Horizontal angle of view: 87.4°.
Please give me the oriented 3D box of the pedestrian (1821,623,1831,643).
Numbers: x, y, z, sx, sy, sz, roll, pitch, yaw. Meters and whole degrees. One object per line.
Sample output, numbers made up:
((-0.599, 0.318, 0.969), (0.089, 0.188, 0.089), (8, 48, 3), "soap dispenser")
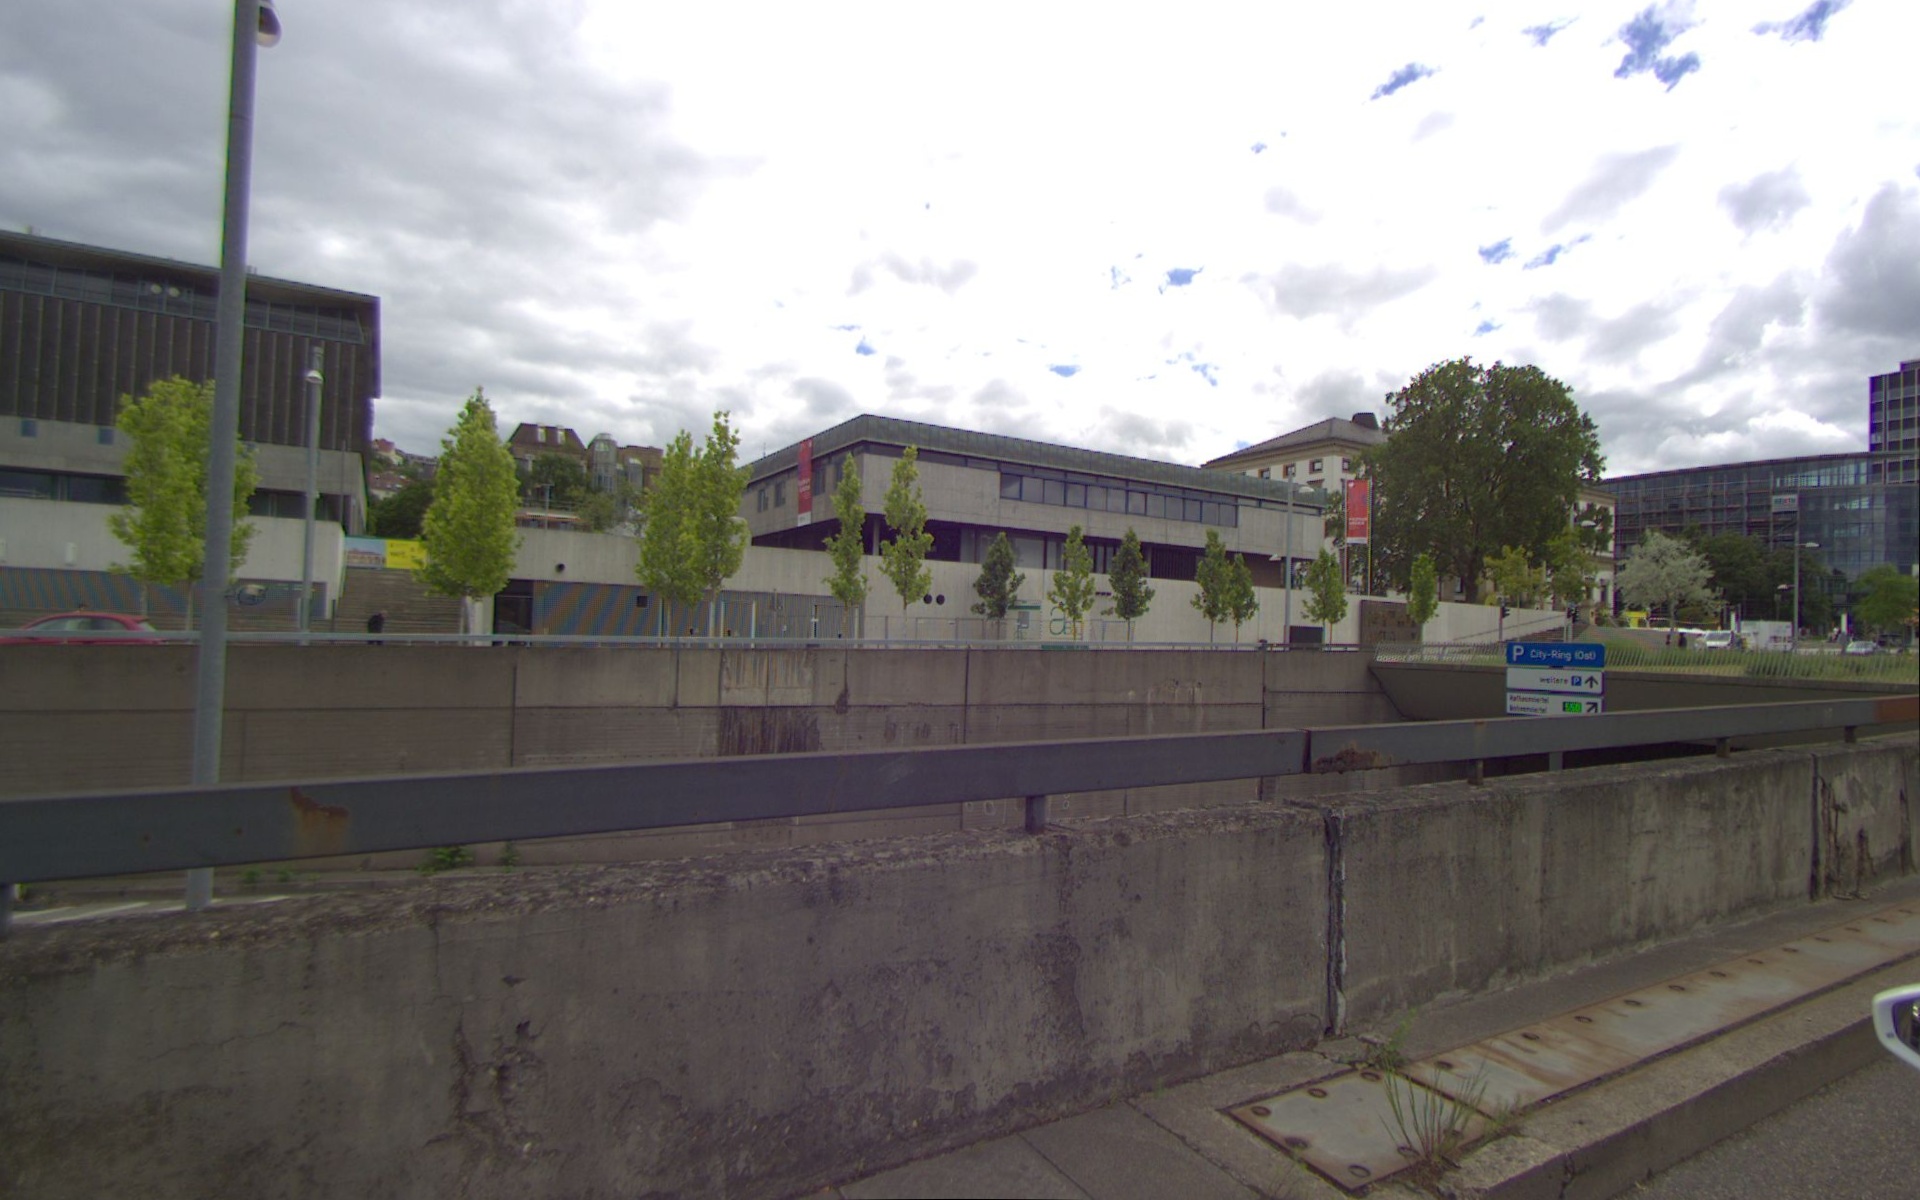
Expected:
((86.802, 3.292, 100.656), (0.730, 2.040, 0.916), (-1, -1, 41), "pedestrian")

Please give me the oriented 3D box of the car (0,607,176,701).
((-19.558, 1.092, 21.077), (4.687, 1.879, 2.161), (2, -1, -34), "car")

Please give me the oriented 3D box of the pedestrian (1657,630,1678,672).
((34.866, 2.483, 49.483), (0.779, 2.040, 0.834), (-1, -1, 33), "pedestrian")

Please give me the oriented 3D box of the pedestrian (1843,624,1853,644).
((89.525, 3.442, 101.270), (0.730, 2.040, 0.916), (-1, -1, 41), "pedestrian")

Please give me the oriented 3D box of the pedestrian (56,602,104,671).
((-26.541, 1.091, 30.314), (0.777, 2.040, 0.741), (0, -1, 2), "pedestrian")

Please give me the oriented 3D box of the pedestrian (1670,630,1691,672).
((35.530, 2.519, 49.562), (0.779, 2.040, 0.834), (-1, -1, 33), "pedestrian")

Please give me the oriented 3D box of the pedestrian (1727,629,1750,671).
((39.930, 2.558, 51.521), (0.623, 2.041, 0.724), (-4, 2, -37), "pedestrian")

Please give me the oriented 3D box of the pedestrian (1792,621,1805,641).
((86.222, 3.199, 103.269), (0.783, 2.040, 0.735), (0, -1, -29), "pedestrian")

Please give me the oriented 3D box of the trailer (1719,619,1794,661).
((53.056, 2.608, 66.879), (5.443, 2.640, 2.028), (1, 1, -30), "trailer")

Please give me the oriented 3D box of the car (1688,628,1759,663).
((48.826, 2.883, 64.224), (4.635, 2.040, 1.985), (0, 0, -30), "car")

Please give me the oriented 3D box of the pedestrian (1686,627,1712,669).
((36.767, 2.388, 49.984), (0.619, 2.040, 0.859), (0, -1, -19), "pedestrian")

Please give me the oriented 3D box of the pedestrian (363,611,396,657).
((-21.240, 1.221, 36.743), (0.777, 1.664, 0.740), (0, -1, -2), "pedestrian")
